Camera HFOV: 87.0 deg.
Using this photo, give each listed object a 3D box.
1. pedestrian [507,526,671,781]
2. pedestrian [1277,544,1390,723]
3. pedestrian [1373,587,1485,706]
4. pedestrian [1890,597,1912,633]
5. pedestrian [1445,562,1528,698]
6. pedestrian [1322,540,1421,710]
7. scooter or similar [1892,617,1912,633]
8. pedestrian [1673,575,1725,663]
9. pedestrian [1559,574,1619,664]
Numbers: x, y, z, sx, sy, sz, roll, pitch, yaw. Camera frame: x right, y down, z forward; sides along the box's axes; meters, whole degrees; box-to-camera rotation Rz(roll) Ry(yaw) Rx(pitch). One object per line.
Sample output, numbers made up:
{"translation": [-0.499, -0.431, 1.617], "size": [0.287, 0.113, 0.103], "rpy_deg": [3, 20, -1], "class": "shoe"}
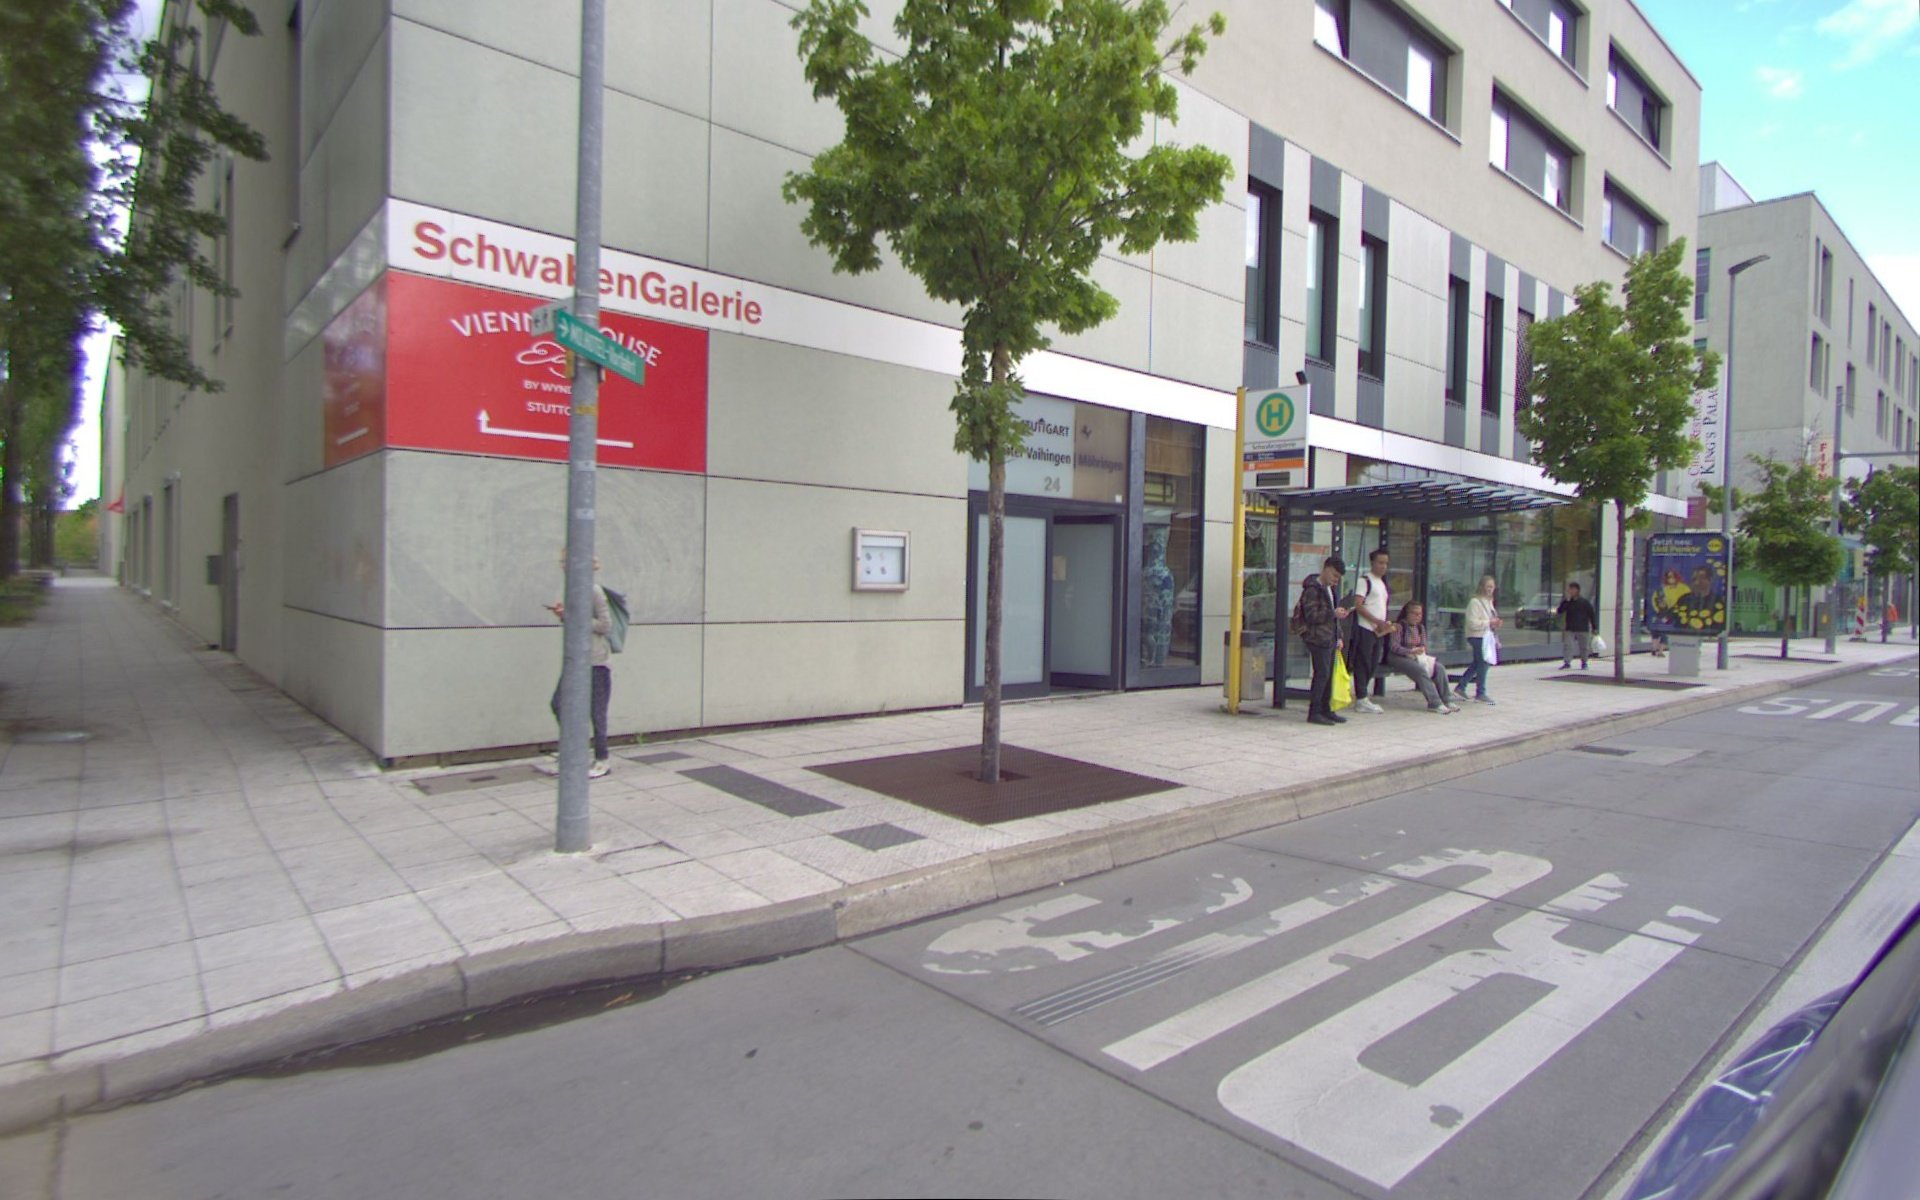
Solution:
{"translation": [-2.545, 0.317, 6.923], "size": [0.790, 1.603, 0.870], "rpy_deg": [0, 2, -41], "class": "pedestrian"}
{"translation": [3.725, 0.303, 10.111], "size": [0.719, 1.704, 0.723], "rpy_deg": [0, 3, -35], "class": "pedestrian"}
{"translation": [5.445, 0.508, 11.759], "size": [0.720, 1.274, 0.944], "rpy_deg": [0, 3, -43], "class": "pedestrian"}
{"translation": [41.812, 0.658, 44.967], "size": [0.719, 1.586, 0.590], "rpy_deg": [1, 3, -41], "class": "pedestrian"}
{"translation": [6.495, 0.347, 12.495], "size": [0.719, 1.610, 0.581], "rpy_deg": [0, 3, -35], "class": "pedestrian"}
{"translation": [4.531, 0.248, 11.151], "size": [0.840, 1.791, 0.581], "rpy_deg": [0, 3, -35], "class": "pedestrian"}
{"translation": [42.401, 1.120, 45.564], "size": [0.754, 0.642, 0.552], "rpy_deg": [0, 3, -41], "class": "scooter or similar"}
{"translation": [14.616, 0.360, 20.013], "size": [0.603, 1.689, 0.656], "rpy_deg": [0, 1, -40], "class": "pedestrian"}
{"translation": [11.797, 0.333, 18.979], "size": [0.702, 1.628, 0.742], "rpy_deg": [0, 1, -40], "class": "pedestrian"}
